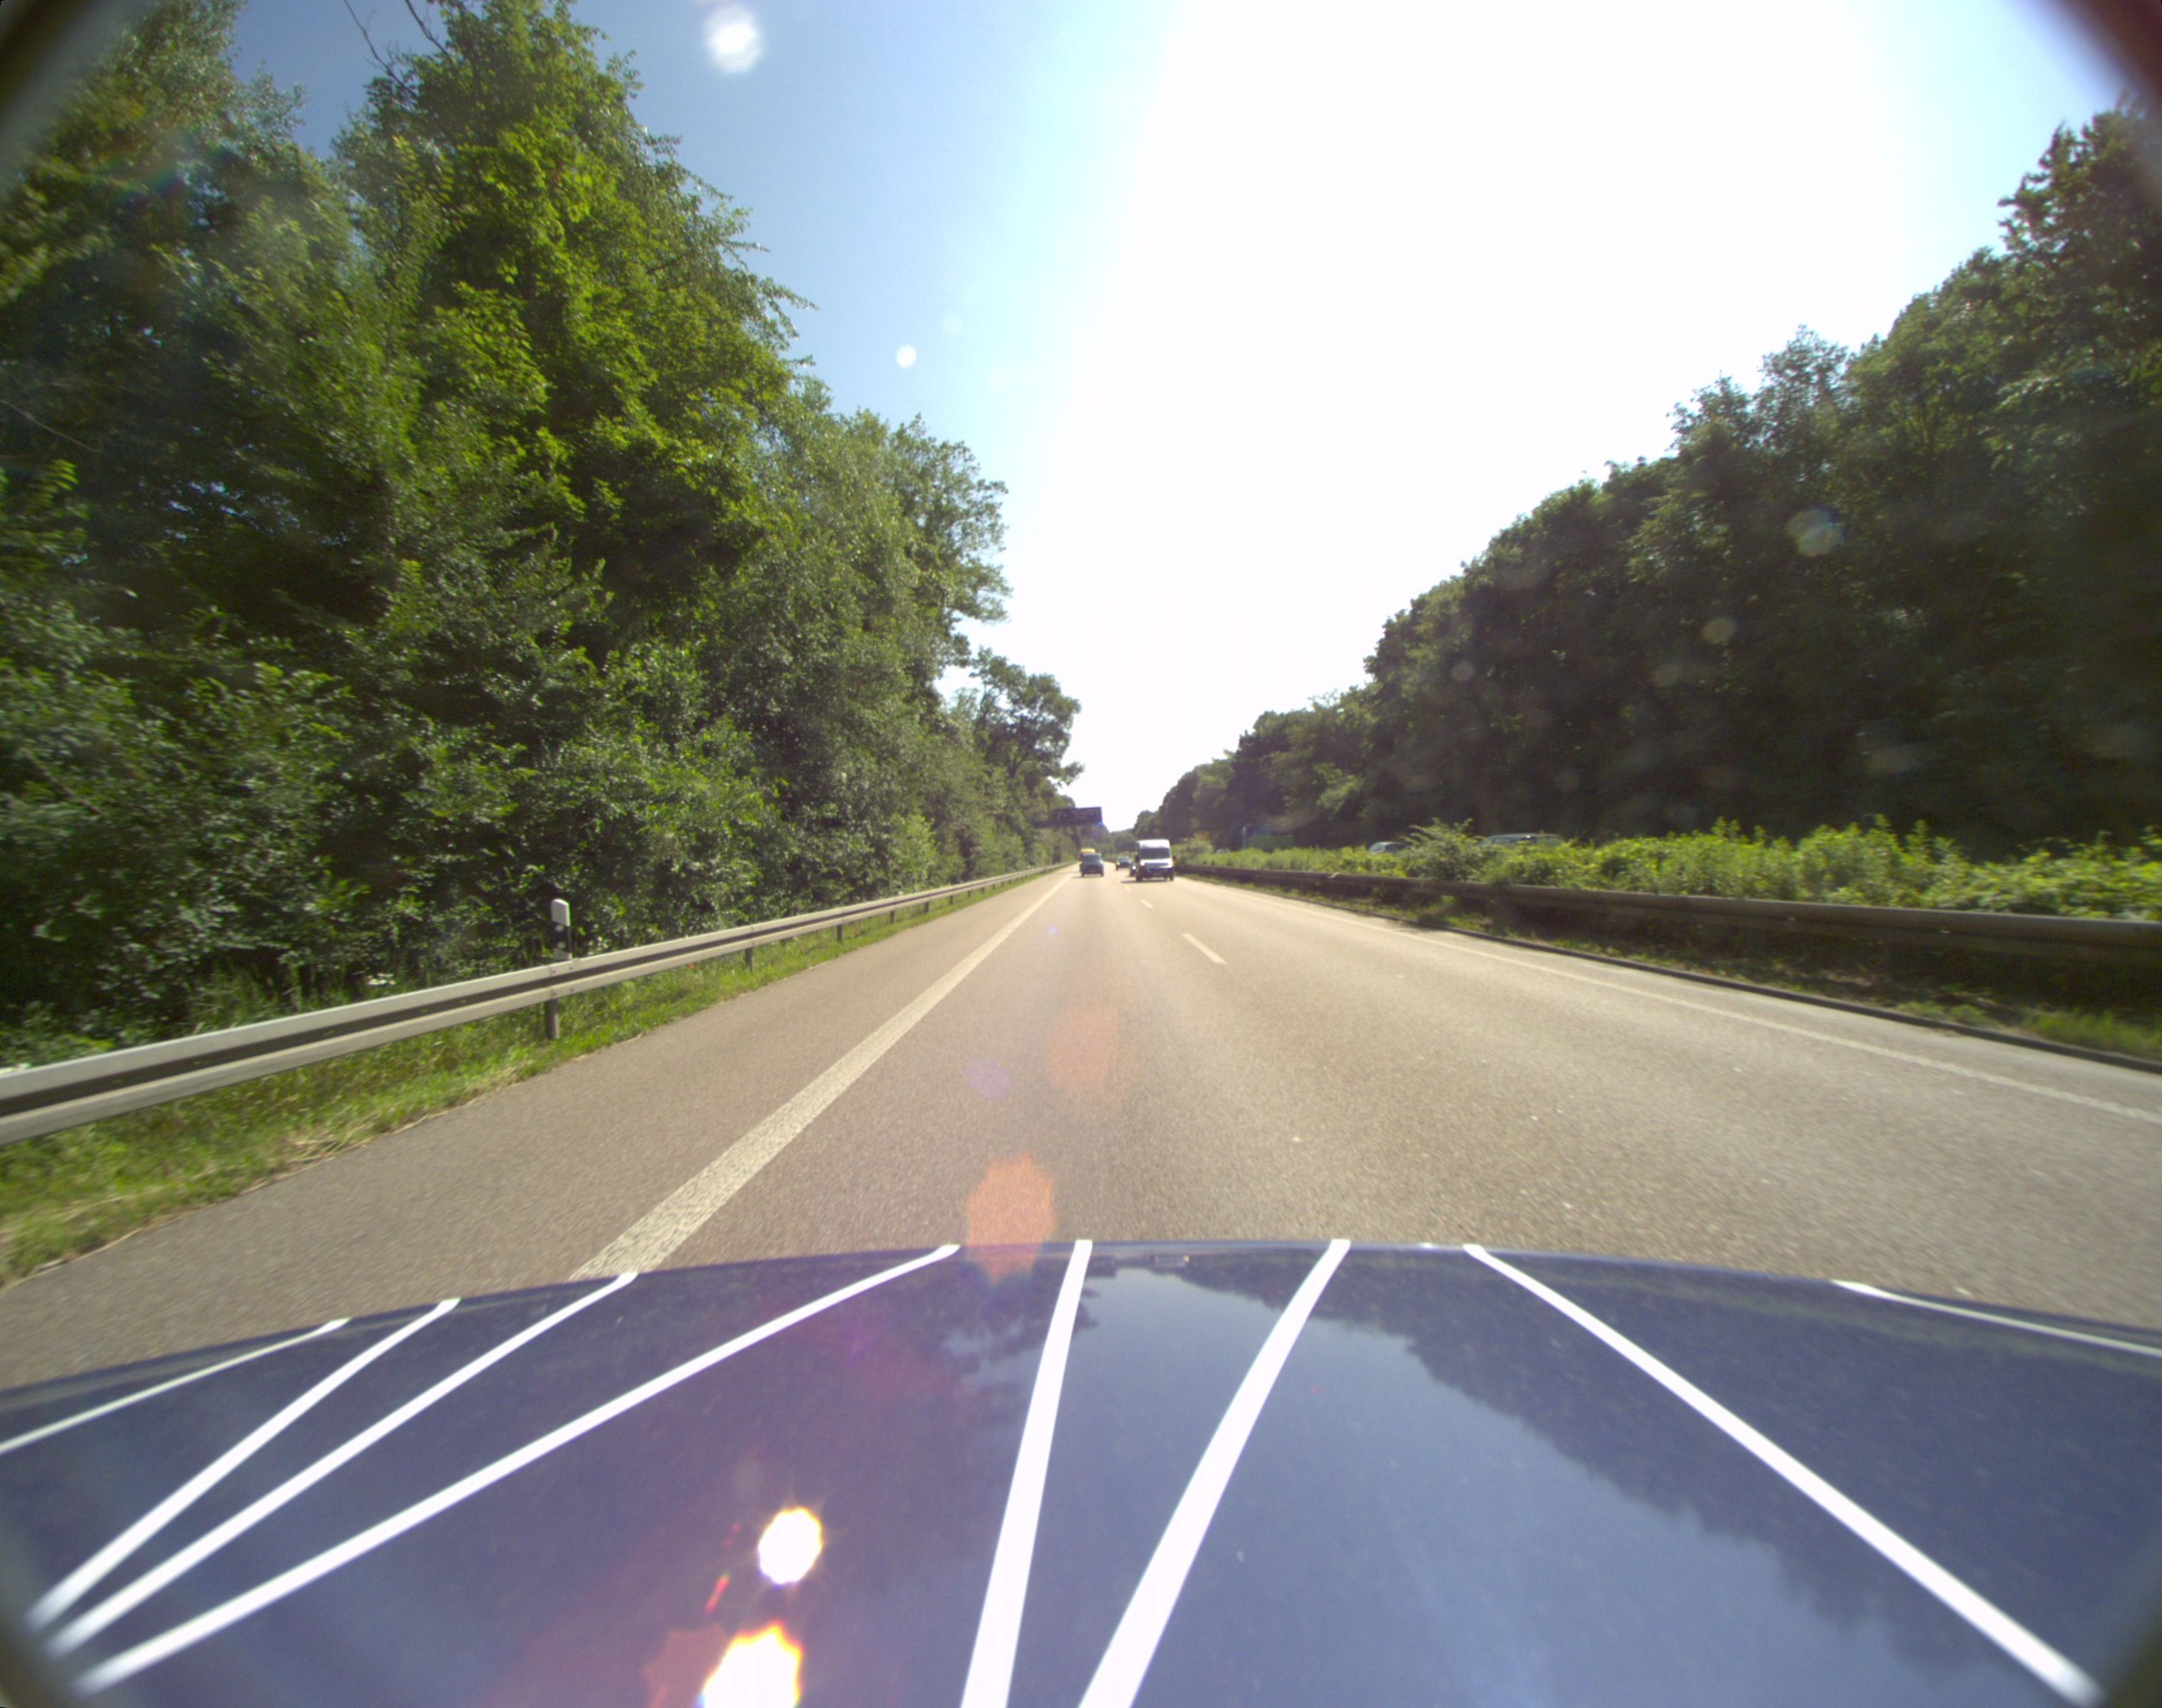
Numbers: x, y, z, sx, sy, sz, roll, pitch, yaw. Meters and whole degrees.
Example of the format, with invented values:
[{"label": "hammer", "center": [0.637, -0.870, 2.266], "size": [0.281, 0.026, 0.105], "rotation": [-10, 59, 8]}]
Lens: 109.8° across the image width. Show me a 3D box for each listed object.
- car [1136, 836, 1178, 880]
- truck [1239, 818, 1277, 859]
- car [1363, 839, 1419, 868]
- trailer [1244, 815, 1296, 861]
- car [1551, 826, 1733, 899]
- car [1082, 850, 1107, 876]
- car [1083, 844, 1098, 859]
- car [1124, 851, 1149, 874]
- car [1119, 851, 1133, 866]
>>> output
[{"label": "car", "center": [4.534, 0.233, 45.946], "size": [2.046, 2.429, 4.637], "rotation": [-2, 0, 1]}, {"label": "truck", "center": [16.821, -1.479, 72.303], "size": [2.652, 3.684, 4.000], "rotation": [-2, 1, 1]}, {"label": "car", "center": [16.757, -0.037, 41.254], "size": [1.676, 1.464, 3.624], "rotation": [-2, 0, 3]}, {"label": "trailer", "center": [16.740, -1.358, 67.686], "size": [2.695, 3.690, 7.984], "rotation": [-2, 0, 1]}, {"label": "car", "center": [13.036, 0.171, 17.957], "size": [1.676, 1.464, 3.624], "rotation": [-3, 0, 3]}, {"label": "car", "center": [1.084, 0.655, 60.446], "size": [1.812, 1.921, 4.581], "rotation": [-2, 0, 1]}, {"label": "car", "center": [1.134, -0.293, 90.728], "size": [1.737, 1.624, 3.899], "rotation": [-2, 0, 1]}, {"label": "car", "center": [4.256, 0.627, 58.987], "size": [1.666, 1.624, 3.644], "rotation": [-2, 0, 1]}, {"label": "car", "center": [5.232, 0.462, 88.631], "size": [1.517, 1.624, 3.611], "rotation": [-2, 0, 1]}]
